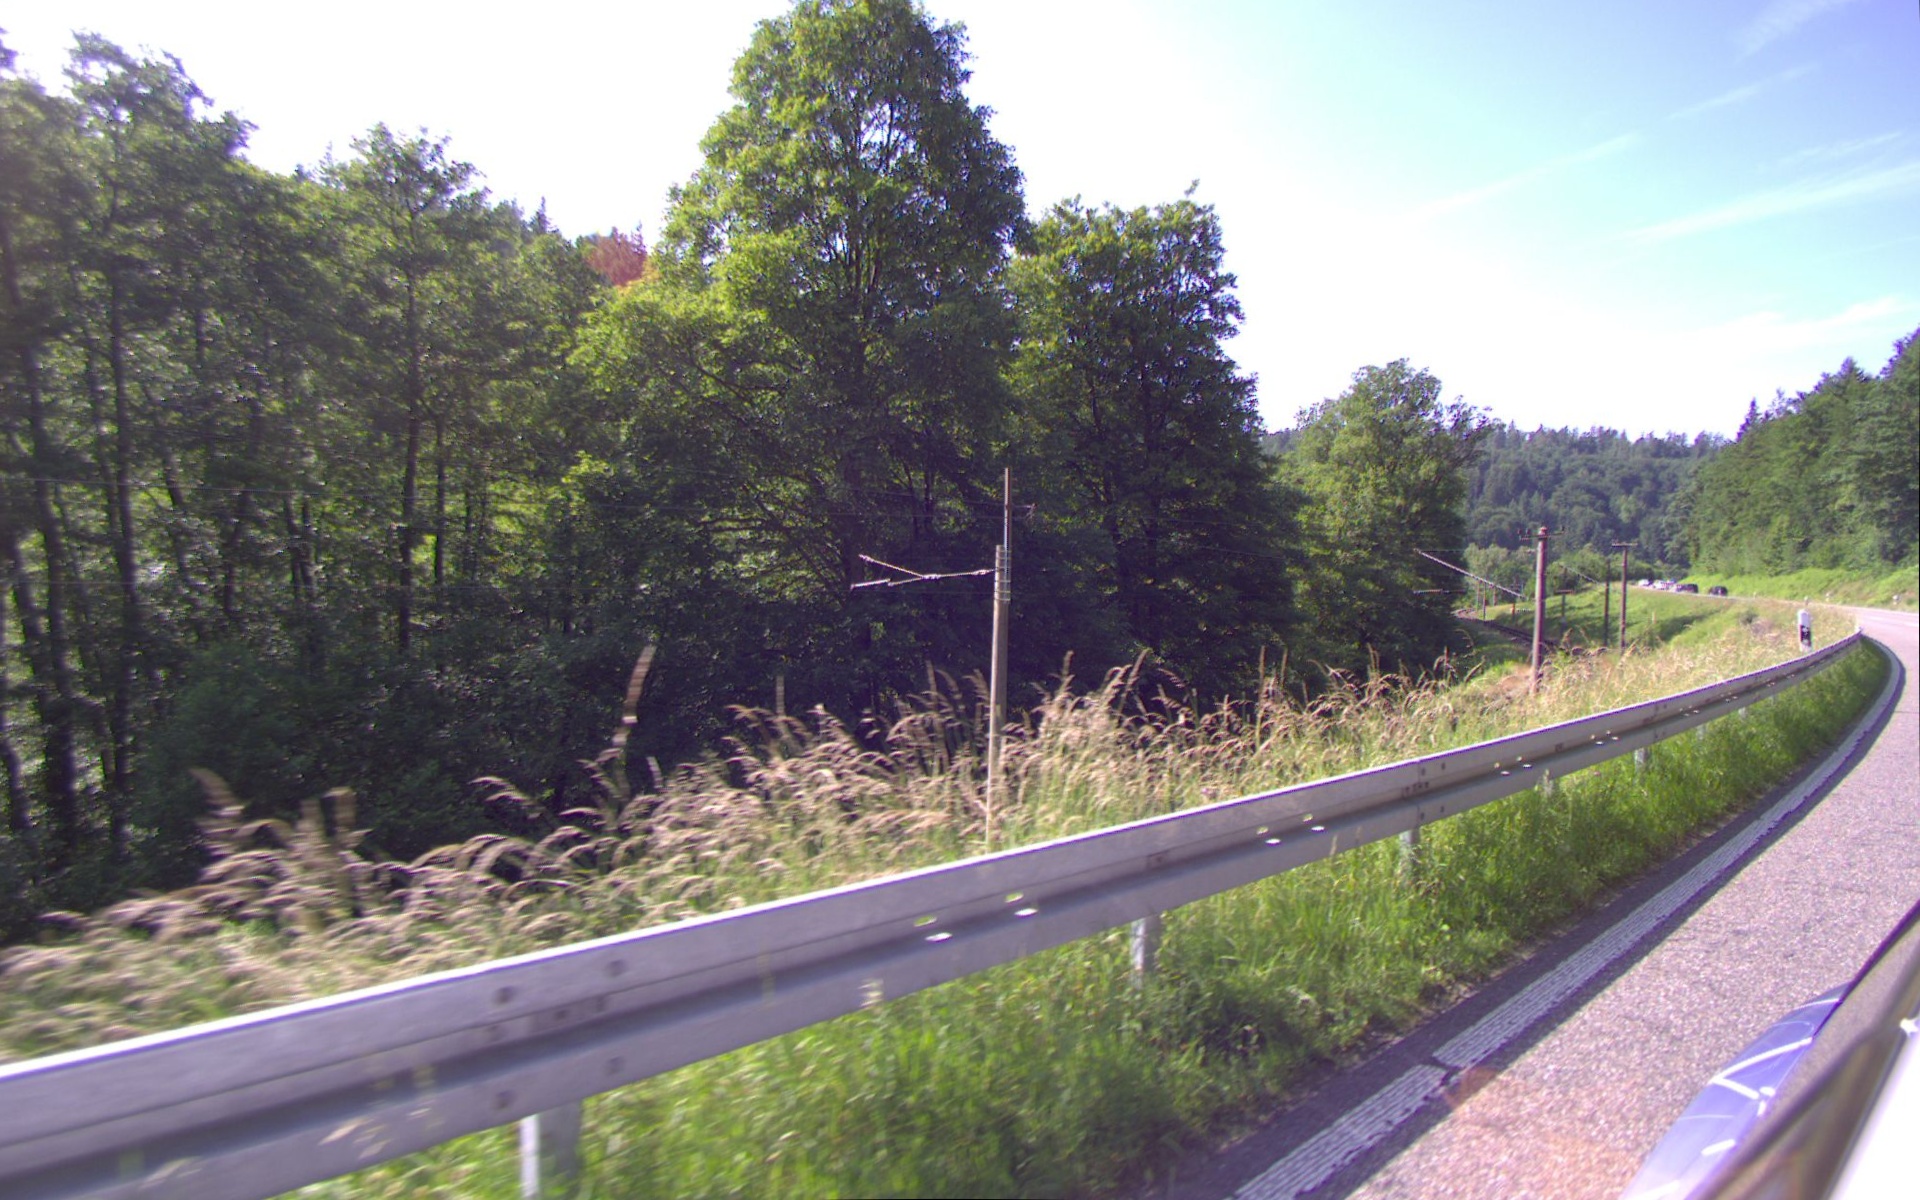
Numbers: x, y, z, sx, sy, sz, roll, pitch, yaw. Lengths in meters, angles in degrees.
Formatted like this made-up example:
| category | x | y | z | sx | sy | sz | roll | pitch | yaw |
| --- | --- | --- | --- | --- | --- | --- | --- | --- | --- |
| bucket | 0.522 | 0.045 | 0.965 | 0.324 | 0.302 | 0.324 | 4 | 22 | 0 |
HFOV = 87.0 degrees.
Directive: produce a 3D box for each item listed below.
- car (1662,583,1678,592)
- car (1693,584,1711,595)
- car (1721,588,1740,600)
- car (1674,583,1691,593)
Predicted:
| category | x | y | z | sx | sy | sz | roll | pitch | yaw |
| --- | --- | --- | --- | --- | --- | --- | --- | --- | --- |
| car | 131.673 | -2.361 | 187.630 | 1.984 | 1.703 | 4.853 | 2 | 2 | 30 |
| car | 110.694 | -1.583 | 151.025 | 1.825 | 1.649 | 4.302 | 1 | 1 | 32 |
| car | 101.272 | -0.824 | 133.067 | 1.852 | 1.548 | 3.949 | 1 | 1 | 35 |
| car | 117.303 | -1.964 | 164.334 | 1.825 | 1.448 | 4.626 | 3 | 3 | 31 |
